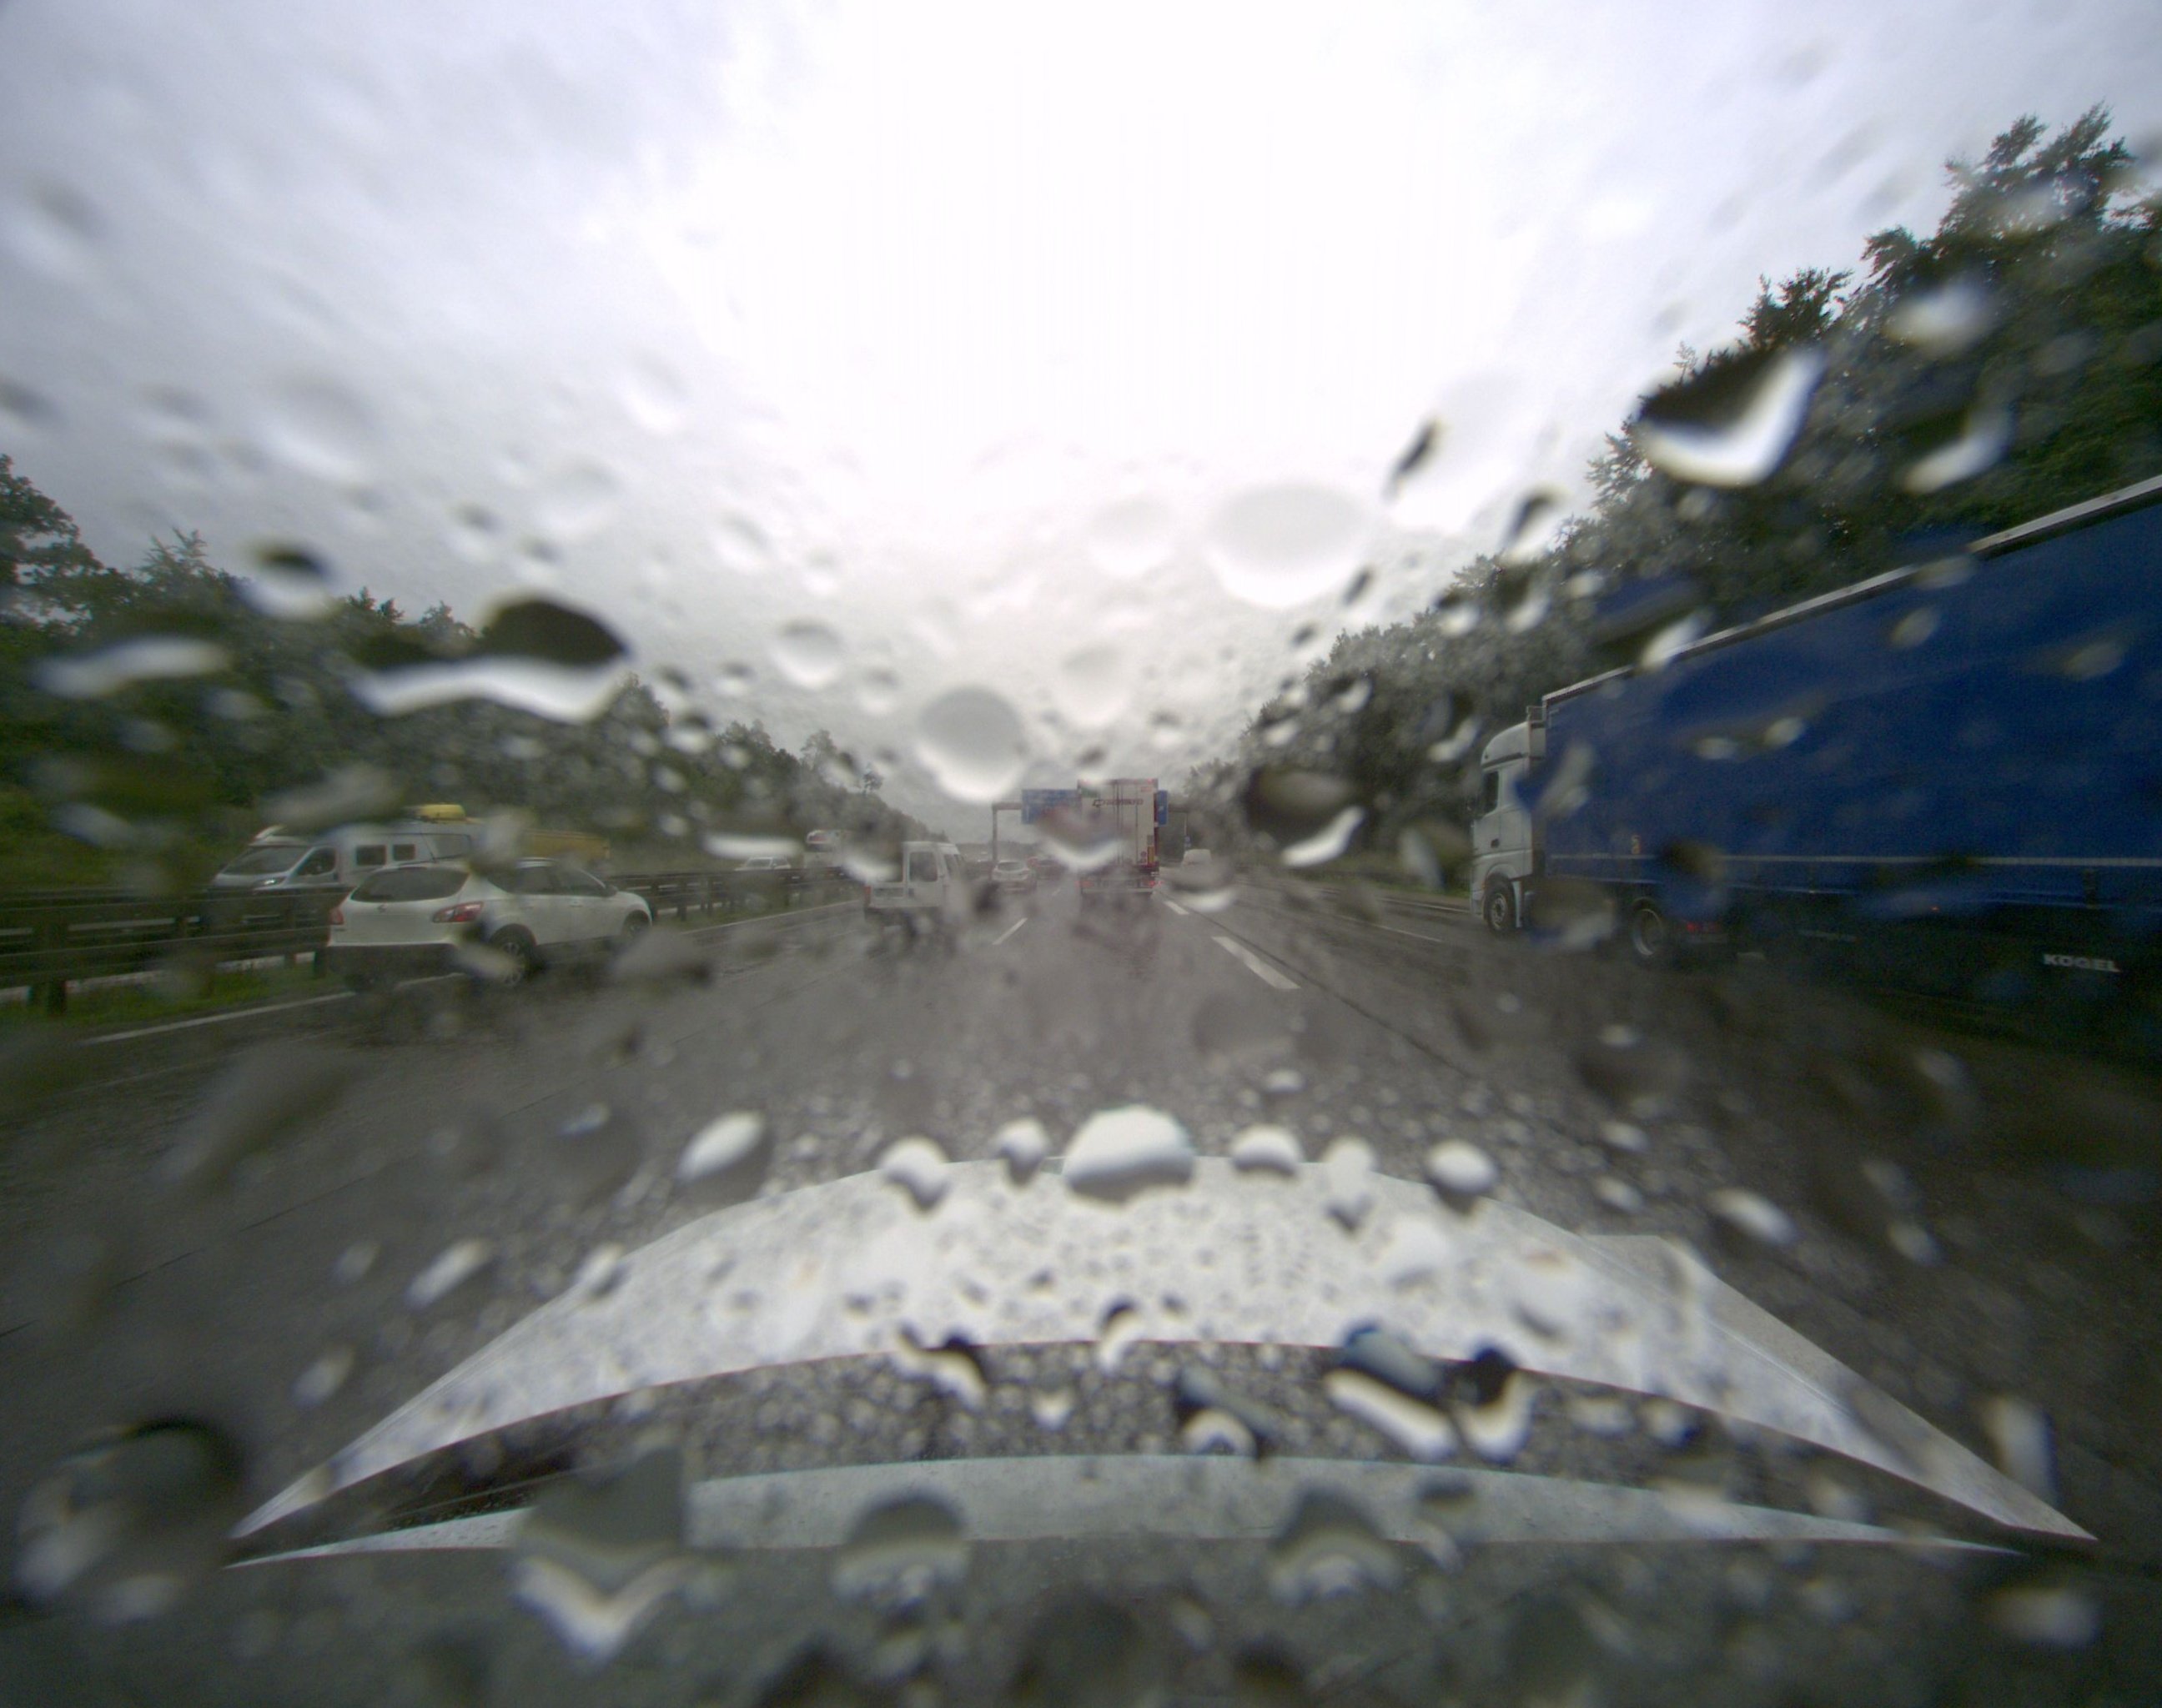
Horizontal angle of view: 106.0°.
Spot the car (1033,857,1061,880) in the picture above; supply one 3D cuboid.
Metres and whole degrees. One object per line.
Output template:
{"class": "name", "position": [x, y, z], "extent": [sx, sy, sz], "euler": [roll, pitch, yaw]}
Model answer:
{"class": "car", "position": [-2.456, 1.016, 59.234], "extent": [1.840, 1.591, 4.465], "euler": [0, 0, 0]}

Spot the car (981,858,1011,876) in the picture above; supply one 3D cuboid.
{"class": "car", "position": [-6.856, 1.028, 66.056], "extent": [1.839, 1.330, 4.468], "euler": [0, 0, 1]}

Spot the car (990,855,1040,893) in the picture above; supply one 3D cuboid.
{"class": "car", "position": [-2.956, 0.869, 37.229], "extent": [1.839, 1.591, 4.073], "euler": [0, 0, 2]}

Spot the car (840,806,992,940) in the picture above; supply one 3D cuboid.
{"class": "car", "position": [-3.457, 0.353, 18.199], "extent": [2.204, 2.573, 5.018], "euler": [0, 0, 2]}

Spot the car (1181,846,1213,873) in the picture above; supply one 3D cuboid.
{"class": "car", "position": [8.623, 0.369, 60.907], "extent": [1.982, 1.921, 4.771], "euler": [0, 0, 3]}

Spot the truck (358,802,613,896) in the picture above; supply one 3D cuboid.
{"class": "truck", "position": [-25.516, -0.191, 36.129], "extent": [2.510, 3.483, 11.722], "euler": [0, 0, 1]}

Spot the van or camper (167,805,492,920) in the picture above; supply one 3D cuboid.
{"class": "van or camper", "position": [-21.806, 0.216, 24.481], "extent": [2.158, 2.870, 8.005], "euler": [0, 0, 2]}

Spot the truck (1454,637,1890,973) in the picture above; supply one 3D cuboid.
{"class": "truck", "position": [8.465, -0.579, 12.788], "extent": [2.592, 4.014, 6.014], "euler": [0, 0, 2]}

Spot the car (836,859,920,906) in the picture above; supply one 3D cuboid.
{"class": "car", "position": [-7.535, 1.001, 30.718], "extent": [1.838, 1.591, 4.469], "euler": [0, 0, 2]}

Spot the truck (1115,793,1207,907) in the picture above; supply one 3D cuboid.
{"class": "truck", "position": [2.921, -0.082, 31.307], "extent": [2.859, 3.562, 11.314], "euler": [0, 0, 4]}

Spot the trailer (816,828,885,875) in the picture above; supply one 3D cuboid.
{"class": "trailer", "position": [-21.250, -0.177, 76.031], "extent": [2.532, 4.025, 13.848], "euler": [0, 0, 0]}

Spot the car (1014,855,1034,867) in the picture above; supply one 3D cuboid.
{"class": "car", "position": [-6.646, 0.838, 95.660], "extent": [1.839, 1.330, 4.468], "euler": [0, 0, 1]}

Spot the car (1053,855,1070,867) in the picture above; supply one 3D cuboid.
{"class": "car", "position": [-2.340, 0.843, 97.951], "extent": [1.839, 1.330, 4.468], "euler": [0, 0, 1]}

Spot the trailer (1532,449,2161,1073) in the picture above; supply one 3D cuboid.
{"class": "trailer", "position": [8.254, -0.599, 6.093], "extent": [2.544, 4.014, 13.720], "euler": [0, 0, 2]}

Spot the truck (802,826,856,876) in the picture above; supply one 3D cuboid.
{"class": "truck", "position": [-21.214, -0.206, 68.898], "extent": [2.532, 4.025, 6.324], "euler": [0, 0, 0]}

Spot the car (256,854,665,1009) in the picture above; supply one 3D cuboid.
{"class": "car", "position": [-7.634, 0.816, 10.750], "extent": [1.838, 1.591, 4.469], "euler": [0, 0, 2]}

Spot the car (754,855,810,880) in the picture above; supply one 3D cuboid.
{"class": "car", "position": [-17.604, 0.778, 48.131], "extent": [1.796, 1.345, 4.000], "euler": [-2, 0, 0]}
